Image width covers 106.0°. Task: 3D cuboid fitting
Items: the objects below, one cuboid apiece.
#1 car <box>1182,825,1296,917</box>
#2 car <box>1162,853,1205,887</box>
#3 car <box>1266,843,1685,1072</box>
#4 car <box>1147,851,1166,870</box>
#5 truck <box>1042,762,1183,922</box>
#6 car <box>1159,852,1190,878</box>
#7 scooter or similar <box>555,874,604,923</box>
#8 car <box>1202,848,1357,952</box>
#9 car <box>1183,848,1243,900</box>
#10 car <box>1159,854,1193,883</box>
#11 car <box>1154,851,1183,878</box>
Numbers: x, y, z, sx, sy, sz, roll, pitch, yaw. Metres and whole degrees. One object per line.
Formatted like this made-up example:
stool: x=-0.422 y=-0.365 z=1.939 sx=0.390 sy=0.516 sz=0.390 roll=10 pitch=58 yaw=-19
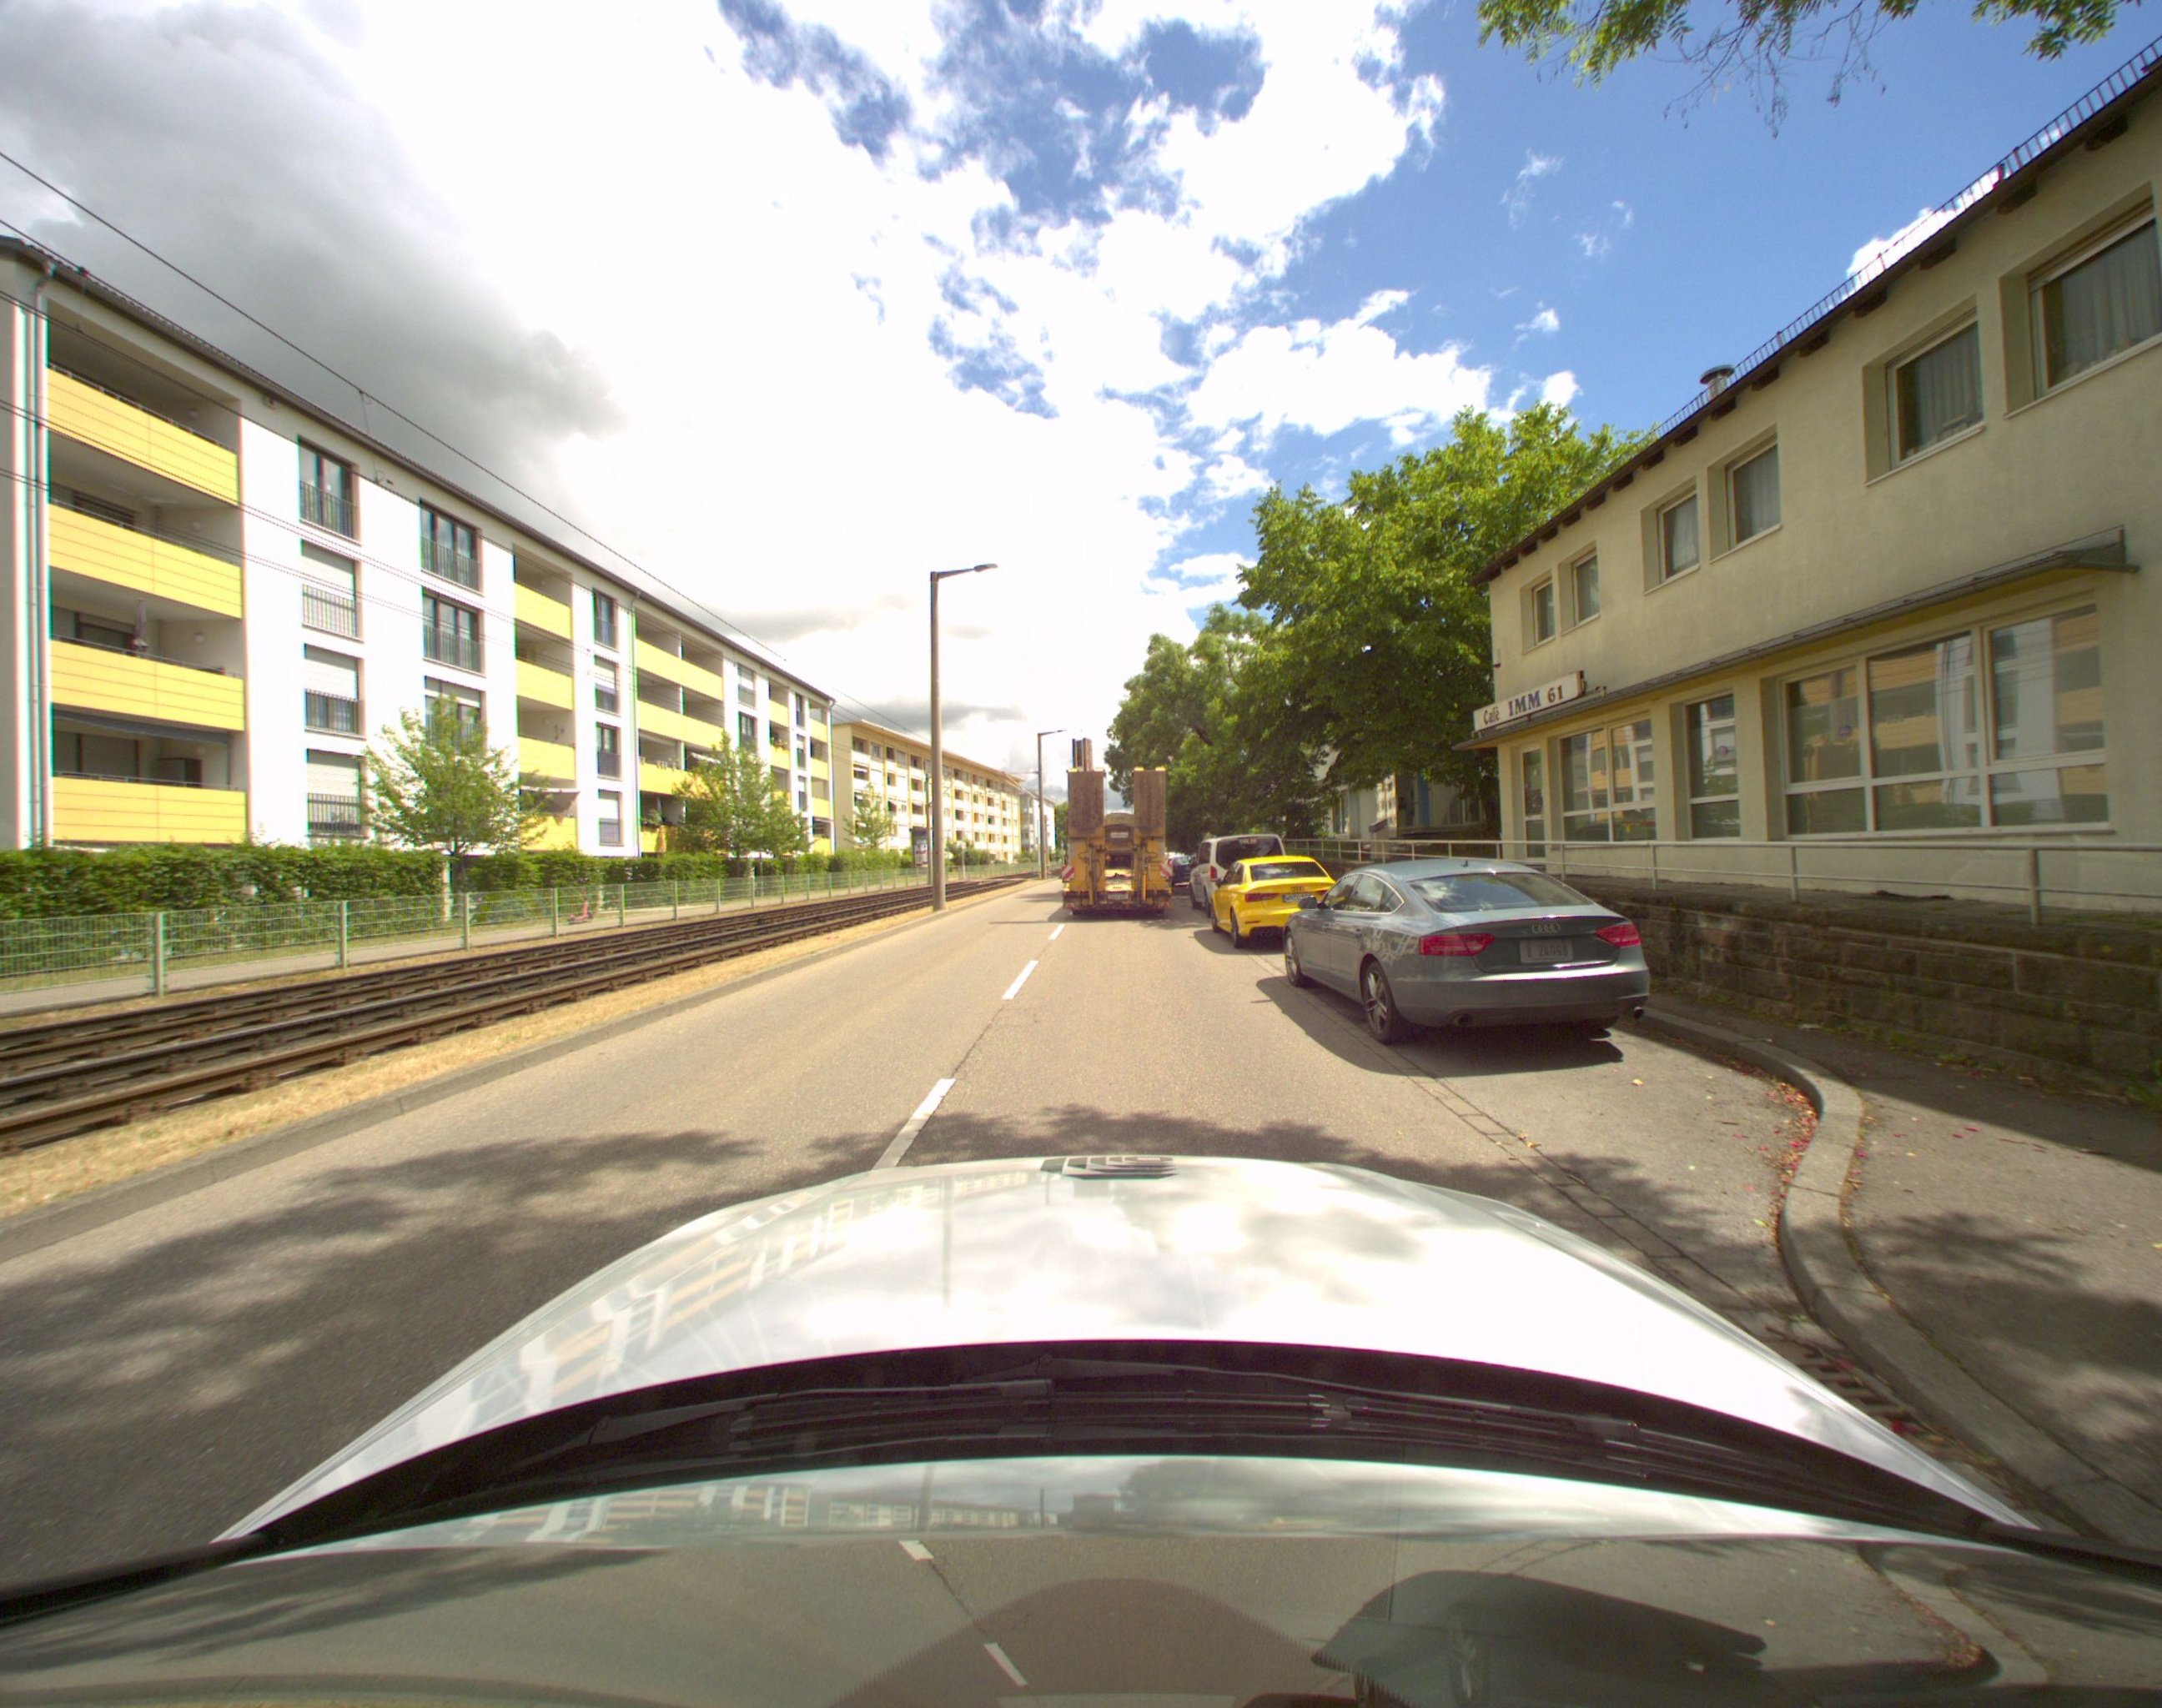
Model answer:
car: x=3.877 y=0.378 z=21.051 sx=1.907 sy=1.958 sz=5.747 roll=-3 pitch=0 yaw=2
car: x=4.808 y=0.713 z=38.594 sx=1.602 sy=1.456 sz=3.677 roll=-3 pitch=0 yaw=1
car: x=3.141 y=0.691 z=7.674 sx=1.749 sy=1.442 sz=4.494 roll=-3 pitch=0 yaw=0
car: x=8.131 y=0.663 z=88.132 sx=1.791 sy=1.968 sz=4.595 roll=-3 pitch=0 yaw=4
truck: x=0.902 y=-0.277 z=24.741 sx=3.112 sy=3.564 sz=12.464 roll=-2 pitch=0 yaw=2
car: x=5.734 y=0.651 z=50.278 sx=1.575 sy=1.552 sz=3.477 roll=-2 pitch=0 yaw=2
scooter or similar: x=-13.986 y=1.228 z=22.737 sx=0.488 sy=1.293 sz=1.303 roll=-1 pitch=0 yaw=3
car: x=3.259 y=0.682 z=14.228 sx=1.748 sy=1.442 sz=4.343 roll=-3 pitch=0 yaw=2
car: x=4.218 y=0.612 z=26.298 sx=1.507 sy=1.534 sz=2.848 roll=-3 pitch=0 yaw=2
car: x=5.247 y=0.751 z=45.149 sx=1.638 sy=1.490 sz=3.825 roll=-2 pitch=0 yaw=3
car: x=5.875 y=0.655 z=54.795 sx=1.814 sy=1.682 sz=4.583 roll=-2 pitch=0 yaw=6
